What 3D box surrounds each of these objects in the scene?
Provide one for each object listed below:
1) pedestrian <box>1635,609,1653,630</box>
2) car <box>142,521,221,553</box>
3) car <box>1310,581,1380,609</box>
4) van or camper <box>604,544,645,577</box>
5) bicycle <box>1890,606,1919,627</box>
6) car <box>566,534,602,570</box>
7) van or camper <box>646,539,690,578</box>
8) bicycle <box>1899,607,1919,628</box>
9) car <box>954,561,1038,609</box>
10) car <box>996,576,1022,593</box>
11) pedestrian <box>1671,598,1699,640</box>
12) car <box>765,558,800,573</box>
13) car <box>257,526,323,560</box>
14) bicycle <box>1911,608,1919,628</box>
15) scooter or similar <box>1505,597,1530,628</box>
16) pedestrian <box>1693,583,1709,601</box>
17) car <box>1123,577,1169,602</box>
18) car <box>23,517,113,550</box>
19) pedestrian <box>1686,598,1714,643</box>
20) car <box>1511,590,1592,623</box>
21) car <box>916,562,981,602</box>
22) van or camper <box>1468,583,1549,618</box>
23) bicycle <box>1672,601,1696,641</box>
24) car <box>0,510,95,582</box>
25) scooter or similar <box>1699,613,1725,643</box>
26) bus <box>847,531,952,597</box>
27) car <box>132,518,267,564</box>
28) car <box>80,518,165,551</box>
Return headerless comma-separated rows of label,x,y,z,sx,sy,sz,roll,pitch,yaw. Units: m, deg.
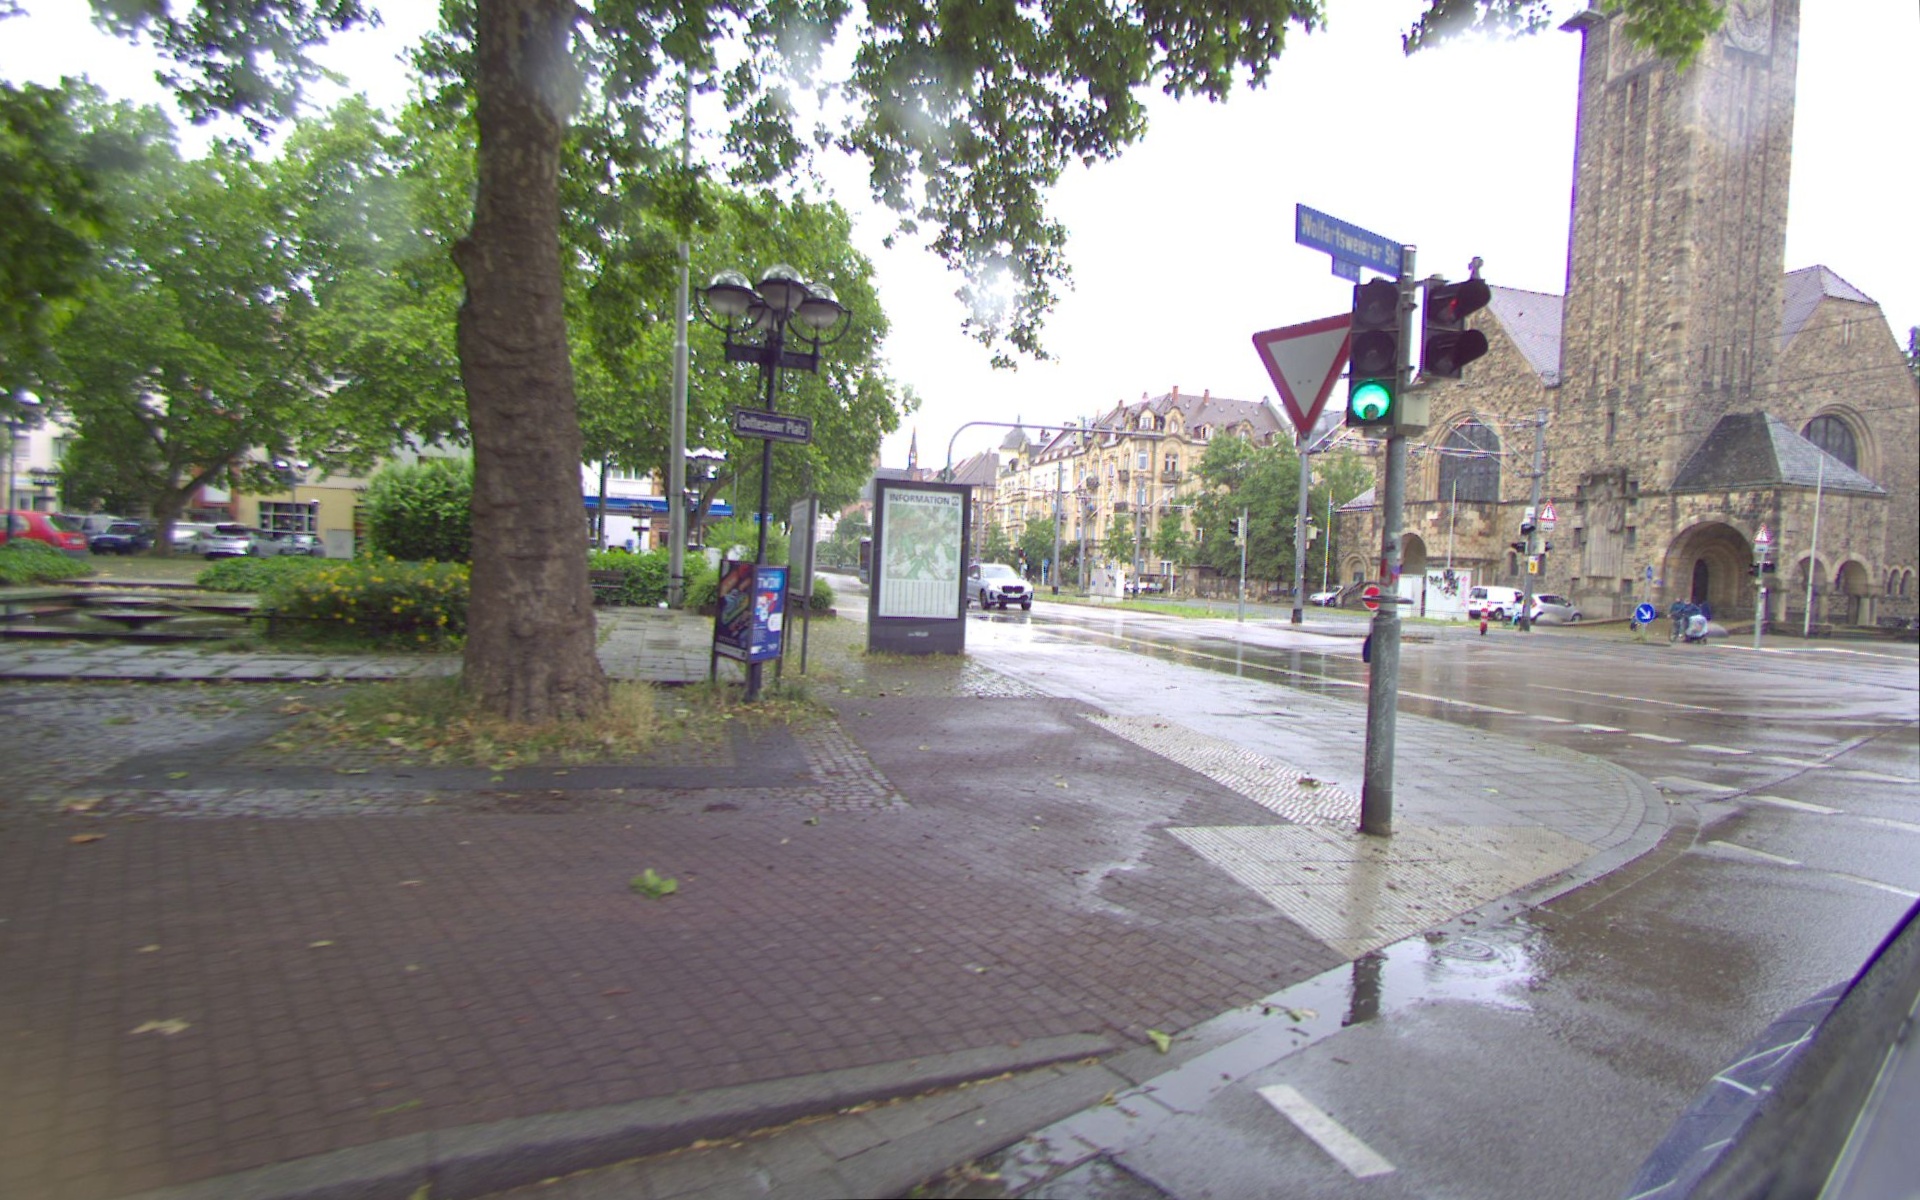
pedestrian,30.974,0.878,45.829,0.388,0.895,0.457,2,1,-20
car,-38.565,-3.105,50.247,1.642,1.470,4.010,2,2,-14
car,25.908,-0.361,68.202,3.915,1.638,2.005,2,1,-16
van or camper,-18.295,-2.164,55.057,1.958,1.618,4.682,3,2,-20
bicycle,52.579,0.928,55.694,0.569,1.073,1.933,2,2,-21
car,-20.546,-2.610,55.352,1.702,1.800,4.272,2,2,-19
van or camper,-16.058,-2.271,55.515,1.958,1.938,4.682,3,2,-20
bicycle,53.244,1.002,55.897,0.569,1.073,1.933,3,2,-18
car,1.301,-0.629,38.918,1.754,1.619,4.566,3,1,-17
car,5.705,-1.872,118.809,1.744,1.798,4.010,2,2,-16
pedestrian,30.884,0.806,43.120,0.664,1.724,0.635,2,1,-20
car,-21.733,-4.280,124.087,3.753,1.644,1.774,2,2,-41
car,-34.046,-2.891,51.504,1.790,1.571,3.905,2,2,-18
bicycle,54.072,1.063,56.045,0.569,1.073,1.933,3,2,-18
scooter or similar,26.237,0.579,47.640,0.280,1.404,1.106,3,1,-17
pedestrian,37.809,-0.427,51.642,0.447,0.895,0.397,3,1,-17
car,15.489,-0.885,84.478,1.938,1.816,4.010,2,2,-19
car,-43.297,-3.203,49.231,1.642,1.470,4.010,2,2,-14
pedestrian,28.560,0.802,39.050,0.676,1.684,0.605,2,1,-37
car,30.517,0.312,52.251,3.288,1.593,1.740,-1,2,-13
car,-0.587,-0.842,45.188,1.741,1.619,4.189,3,1,-17
van or camper,30.123,0.018,55.616,3.847,1.749,1.653,-1,3,-16
bicycle,28.357,0.820,39.629,0.531,1.484,1.912,4,1,40
car,-21.819,-1.254,22.490,3.602,1.540,1.672,2,2,-25
scooter or similar,28.606,1.063,38.493,0.907,1.061,0.515,2,1,-37
bus,-3.612,-2.008,55.888,2.832,3.152,12.132,3,1,-17
car,-30.682,-2.356,40.982,3.916,1.638,2.005,2,2,-21
car,-40.898,-3.158,49.542,1.642,1.470,4.010,2,2,-14
